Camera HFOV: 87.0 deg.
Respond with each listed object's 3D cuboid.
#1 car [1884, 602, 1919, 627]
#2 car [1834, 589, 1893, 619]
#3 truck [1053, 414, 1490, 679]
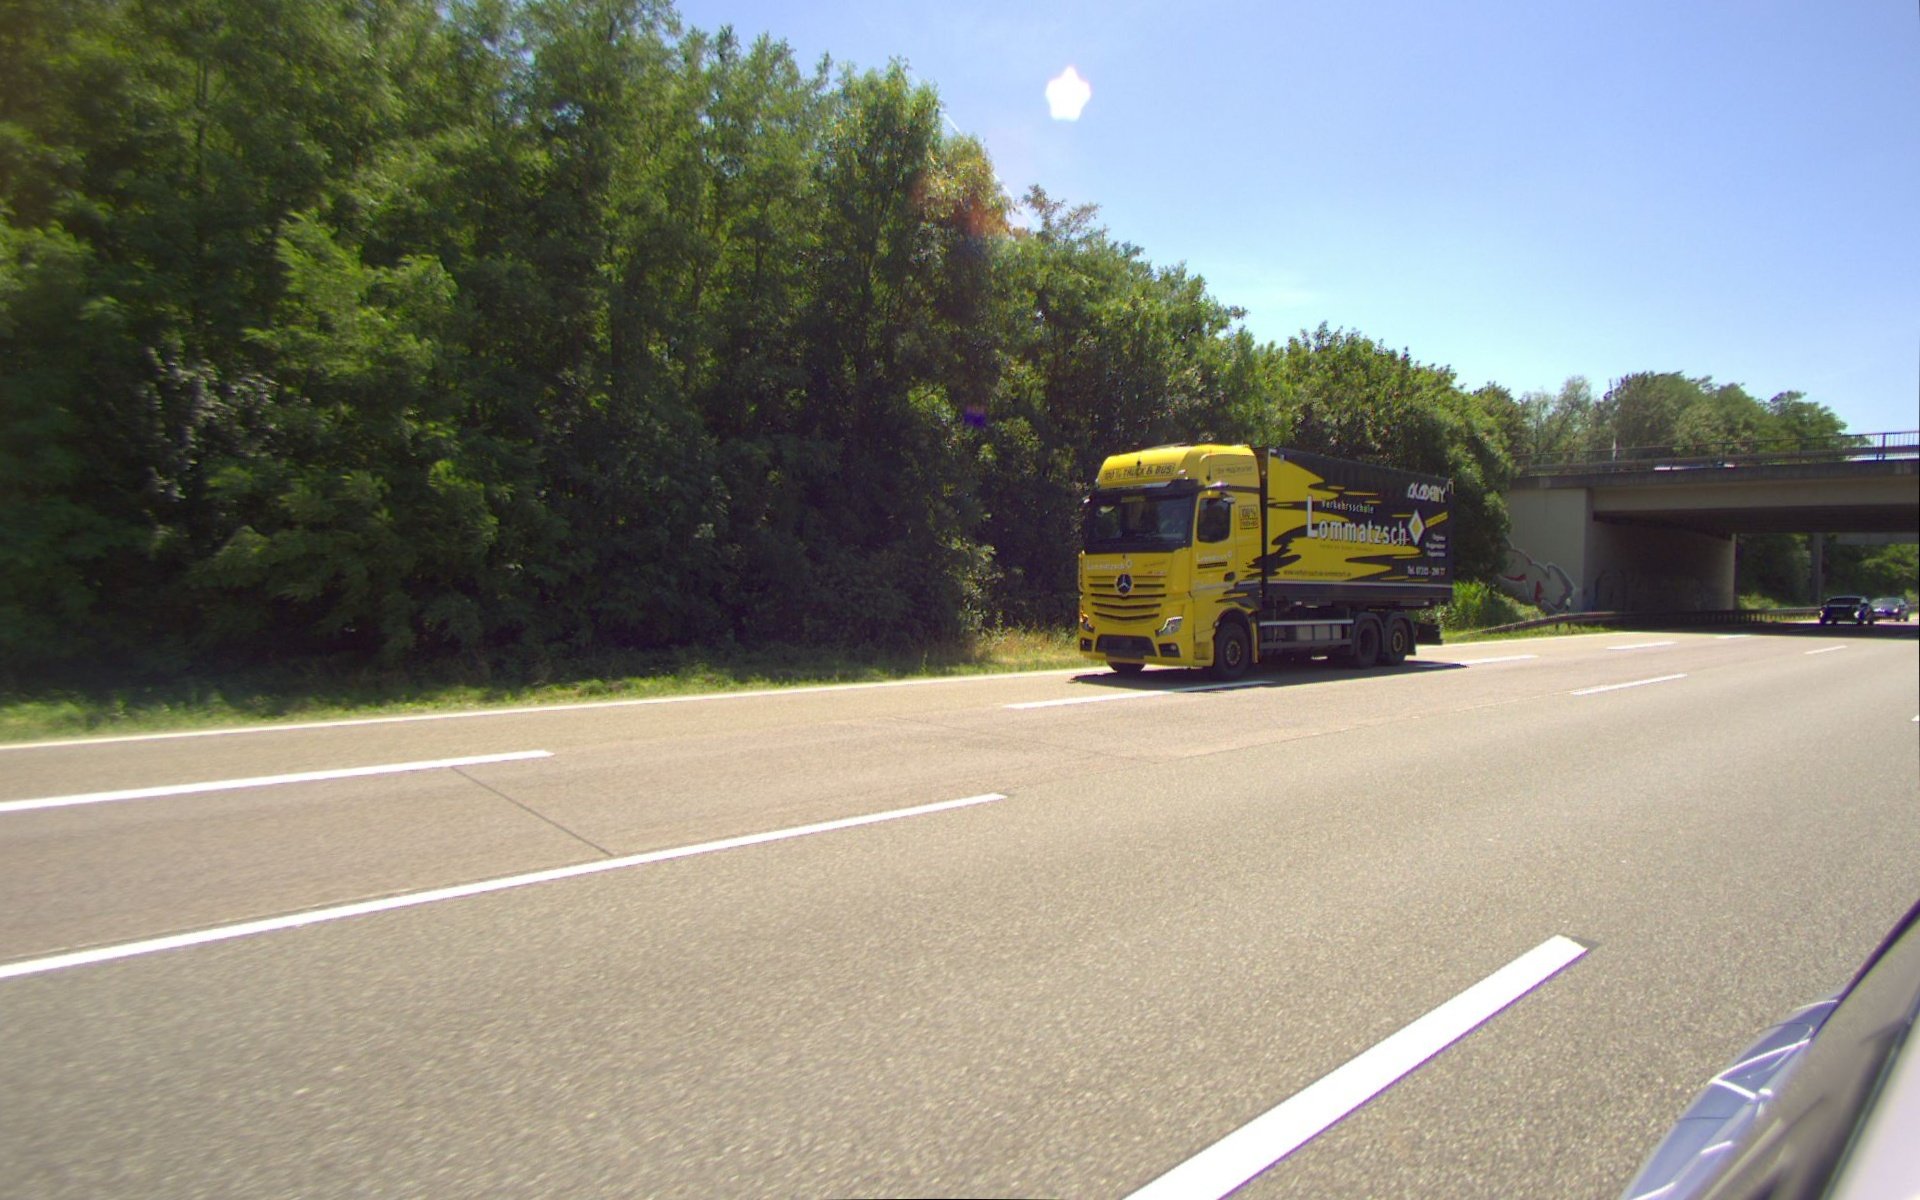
[{"bbox_3d":[59.217,0.883,63.247,4.494,1.465,1.673,-1,1,-41],"label":"car"},{"bbox_3d":[48.690,0.188,54.530,4.128,1.575,1.874,-1,1,-41],"label":"car"},{"bbox_3d":[6.729,-0.863,20.233,10.787,4.088,2.980,-1,0,-40],"label":"truck"}]
